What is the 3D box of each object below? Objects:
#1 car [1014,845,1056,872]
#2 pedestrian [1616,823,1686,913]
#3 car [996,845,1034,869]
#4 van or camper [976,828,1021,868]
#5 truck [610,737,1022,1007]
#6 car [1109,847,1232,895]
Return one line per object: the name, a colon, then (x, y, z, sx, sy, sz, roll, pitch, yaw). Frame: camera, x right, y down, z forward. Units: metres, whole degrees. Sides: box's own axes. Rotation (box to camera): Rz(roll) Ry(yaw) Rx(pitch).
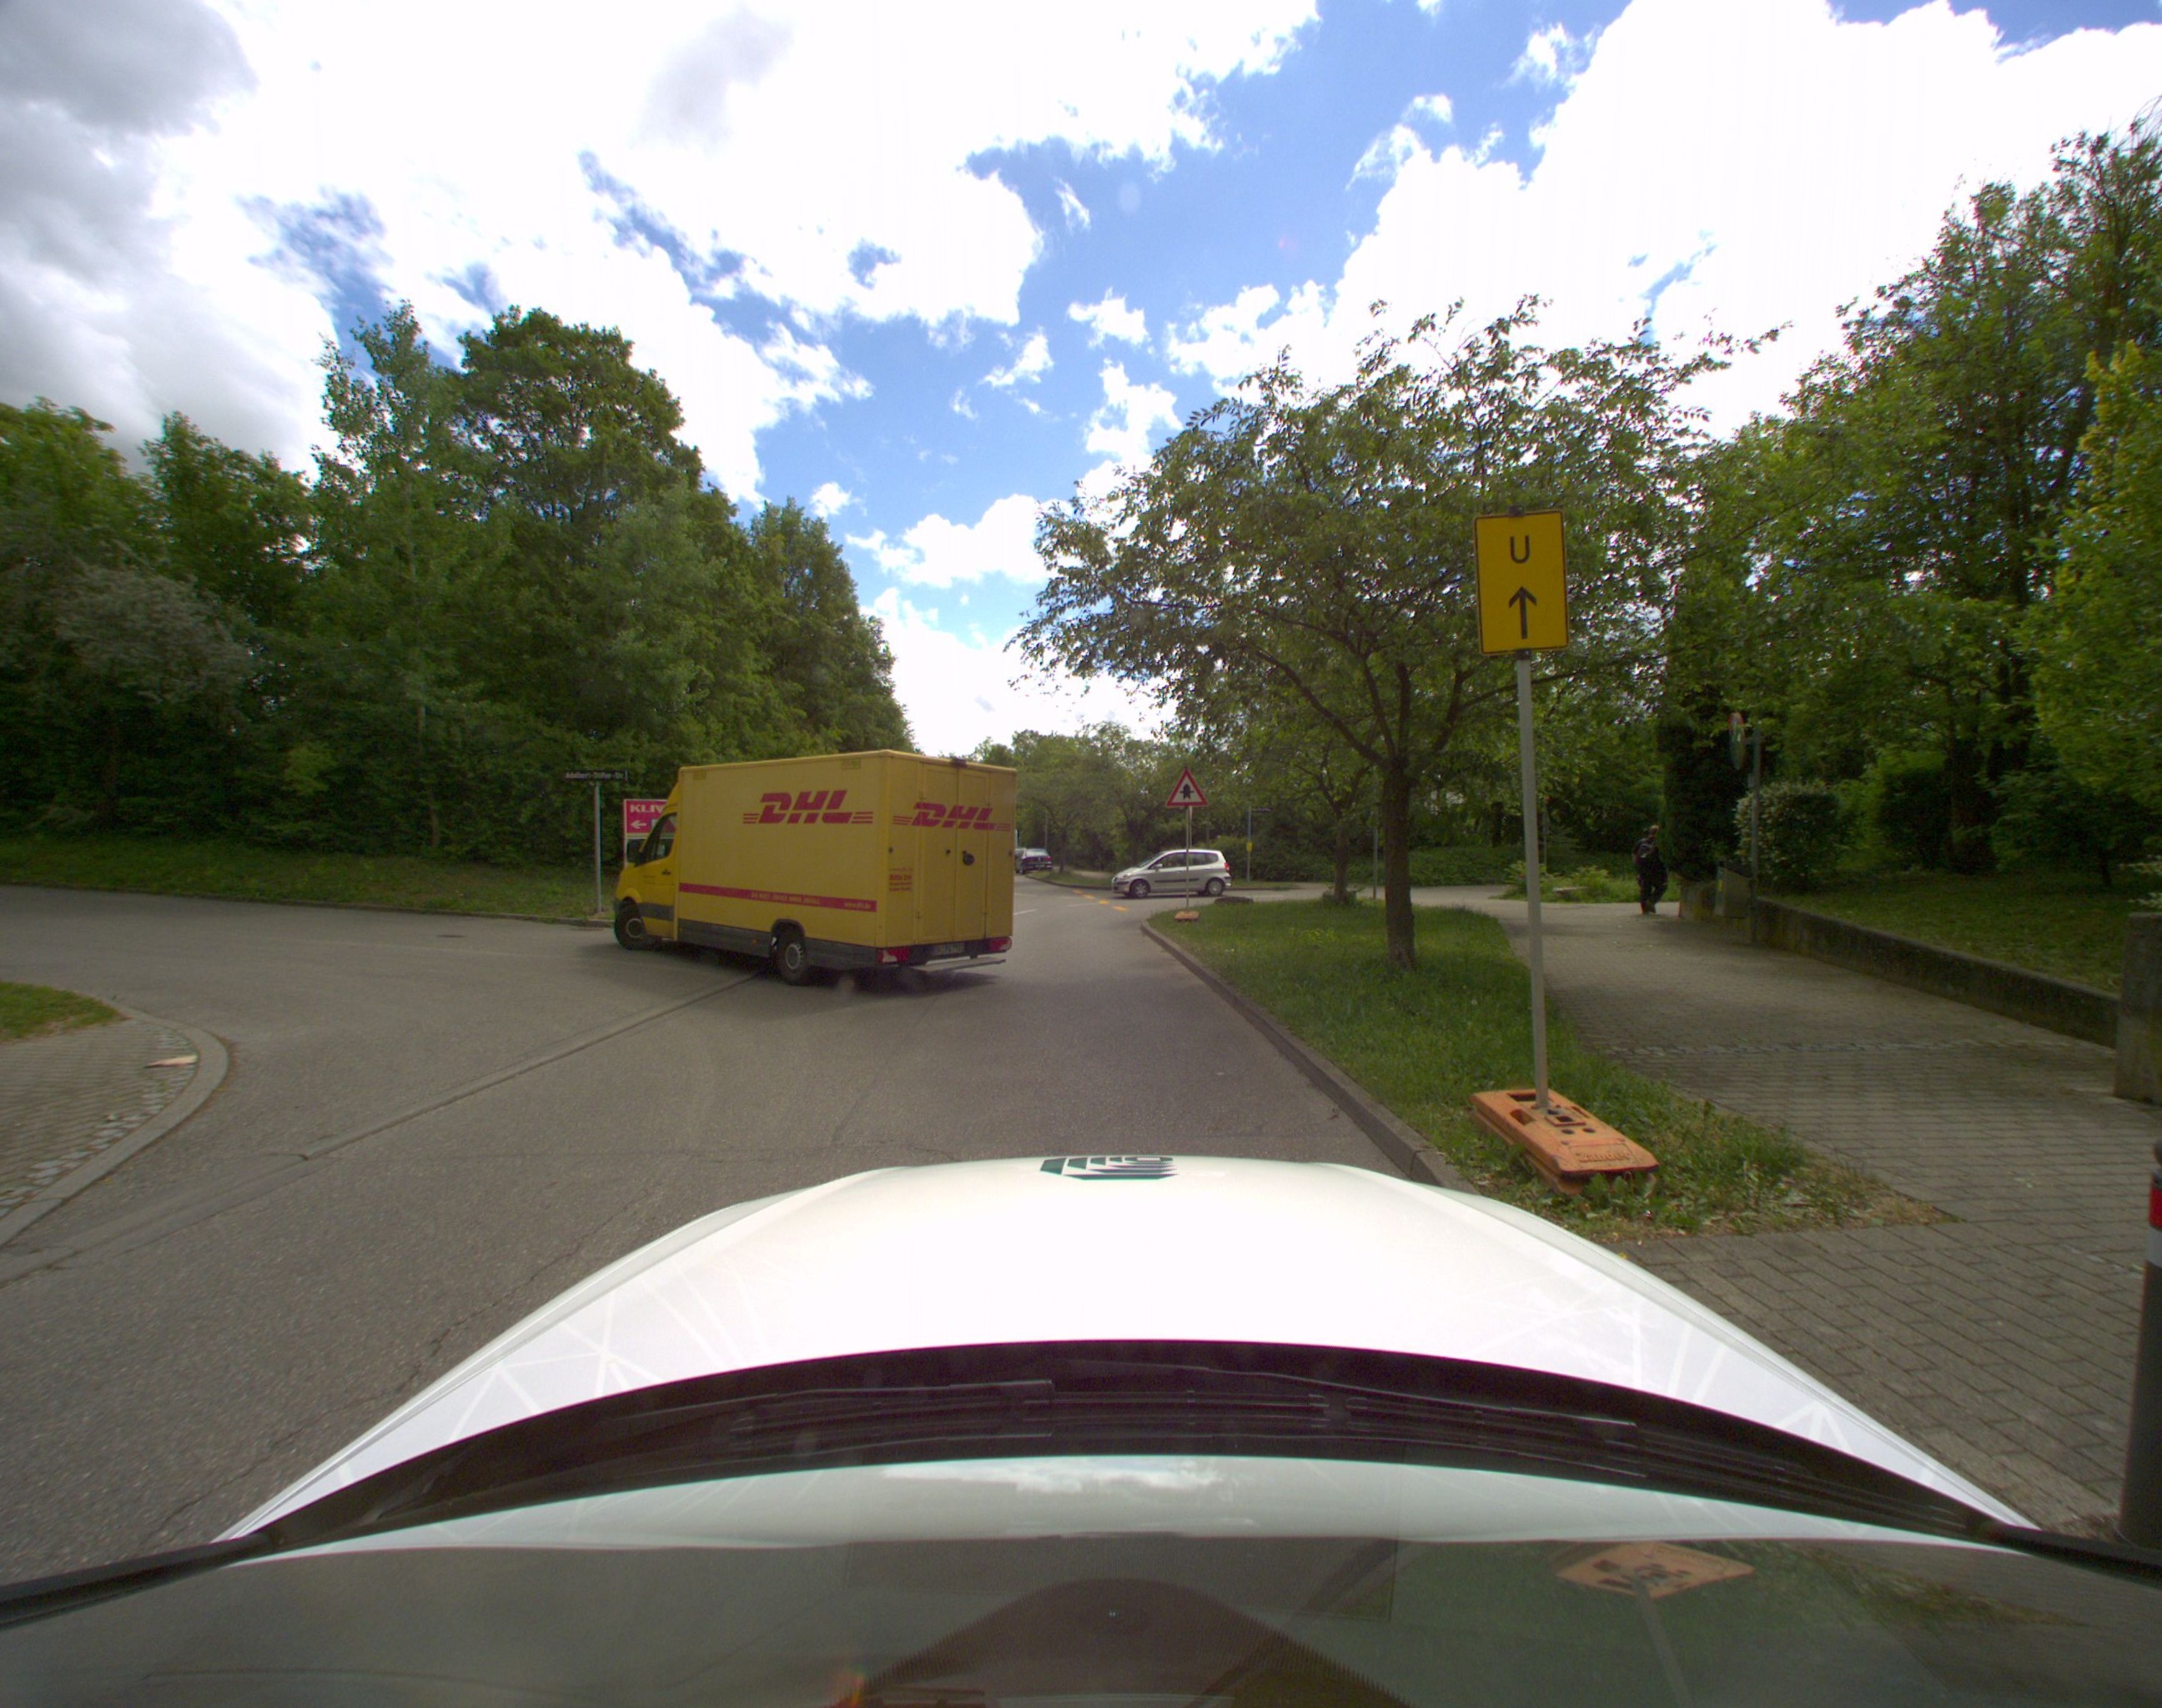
car: (-2.757, 0.237, 48.128, 1.777, 1.434, 4.316, -2, 1, -12)
pedestrian: (11.398, 0.271, 16.311, 0.830, 1.737, 0.785, -1, 0, -3)
car: (-4.493, 0.189, 55.188, 1.733, 1.519, 3.867, -2, 0, -17)
van or camper: (-6.425, -0.506, 62.553, 2.338, 2.869, 6.116, 0, 1, -17)
truck: (-3.992, 0.057, 11.340, 6.488, 2.808, 2.247, 3, 2, 39)
car: (2.839, 0.517, 26.279, 3.637, 1.456, 1.843, -1, 0, -7)
